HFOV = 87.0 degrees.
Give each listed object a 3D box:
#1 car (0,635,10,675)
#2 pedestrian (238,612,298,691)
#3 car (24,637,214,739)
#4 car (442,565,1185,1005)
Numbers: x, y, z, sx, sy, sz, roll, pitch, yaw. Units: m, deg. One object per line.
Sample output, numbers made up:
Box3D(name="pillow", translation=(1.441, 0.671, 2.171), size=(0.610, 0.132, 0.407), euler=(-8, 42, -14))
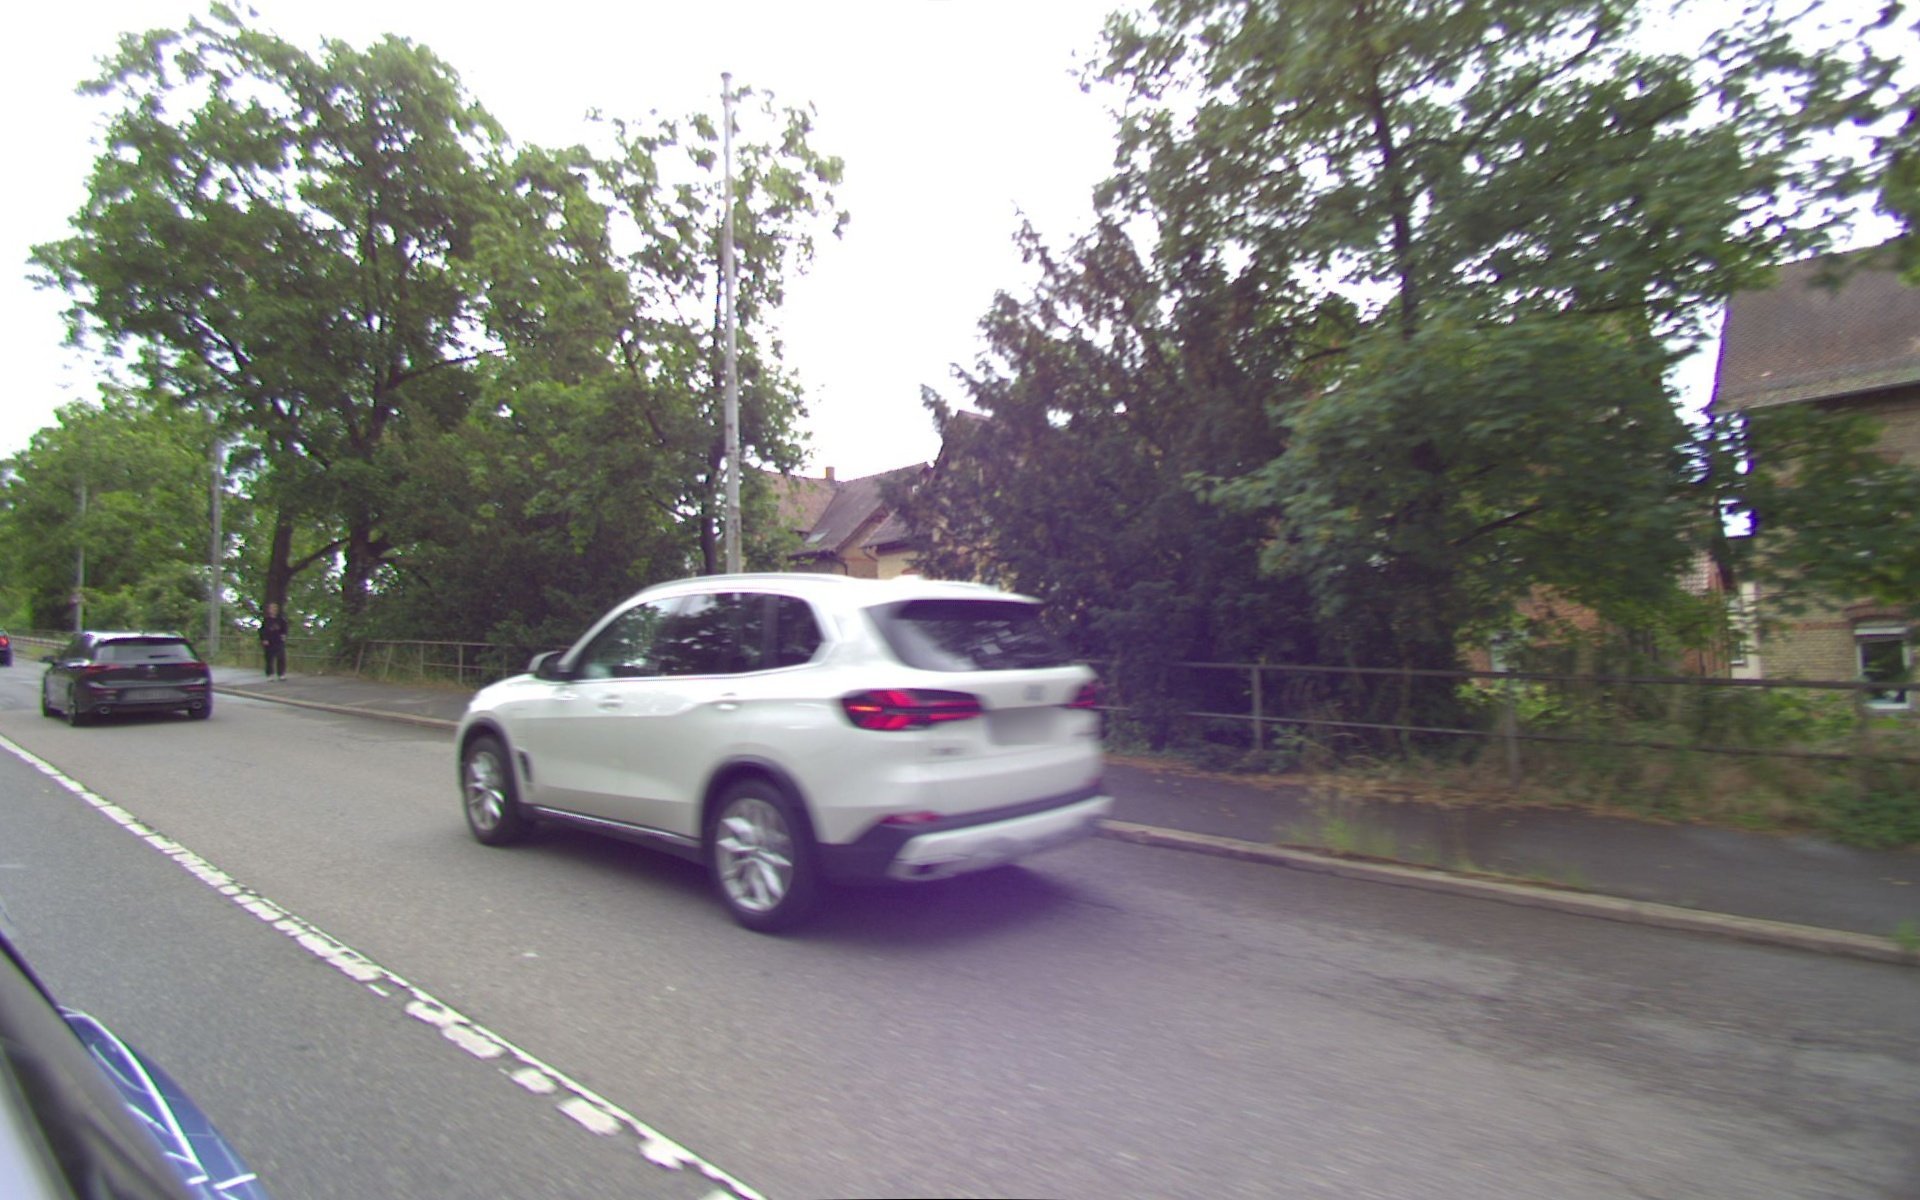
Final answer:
Box3D(name="car", translation=(-36.581, 2.044, 37.516), size=(3.687, 1.458, 1.651), euler=(-2, -2, 42))
Box3D(name="pedestrian", translation=(-16.442, 1.219, 24.041), size=(1.207, 1.787, 0.781), euler=(-2, 1, 39))
Box3D(name="car", translation=(-13.812, 1.348, 16.553), size=(4.135, 1.438, 1.695), euler=(-2, -2, 40))
Box3D(name="car", translation=(-1.195, 0.795, 6.217), size=(4.661, 1.696, 1.974), euler=(-2, -3, 41))
